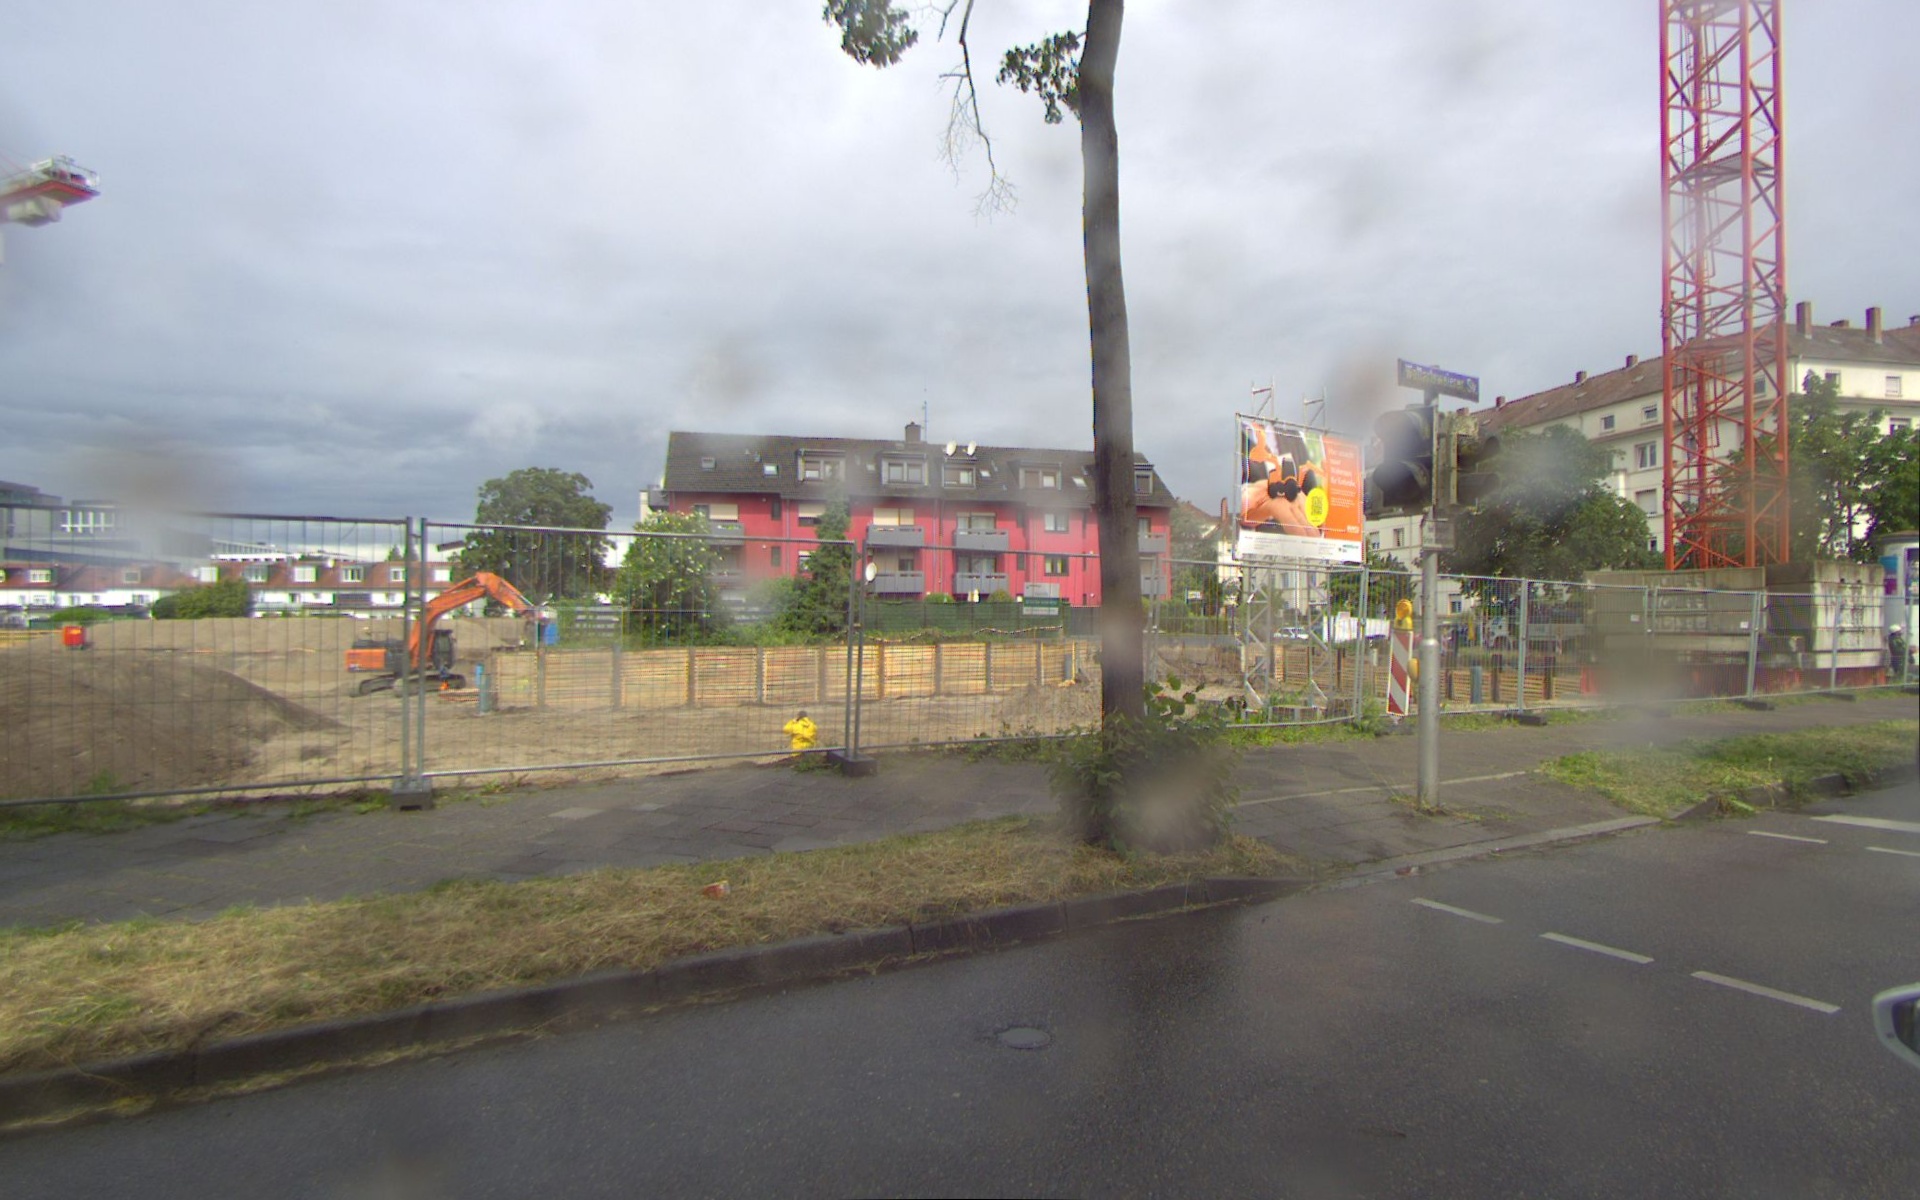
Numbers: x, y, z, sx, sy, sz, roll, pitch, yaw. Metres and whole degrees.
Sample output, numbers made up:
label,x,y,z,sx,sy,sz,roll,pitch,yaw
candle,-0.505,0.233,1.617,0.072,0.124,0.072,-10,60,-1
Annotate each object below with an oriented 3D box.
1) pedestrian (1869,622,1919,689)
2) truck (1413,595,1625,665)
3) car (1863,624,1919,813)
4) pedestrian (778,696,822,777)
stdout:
label,x,y,z,sx,sy,sz,roll,pitch,yaw
pedestrian,23.736,1.386,25.527,0.710,1.651,0.684,2,0,23
truck,28.499,1.444,51.966,3.730,3.226,9.810,0,0,-16
car,9.961,1.003,8.823,3.932,1.561,1.806,1,-1,-28
pedestrian,-3.560,3.013,22.312,0.837,1.706,0.585,1,-4,-25
